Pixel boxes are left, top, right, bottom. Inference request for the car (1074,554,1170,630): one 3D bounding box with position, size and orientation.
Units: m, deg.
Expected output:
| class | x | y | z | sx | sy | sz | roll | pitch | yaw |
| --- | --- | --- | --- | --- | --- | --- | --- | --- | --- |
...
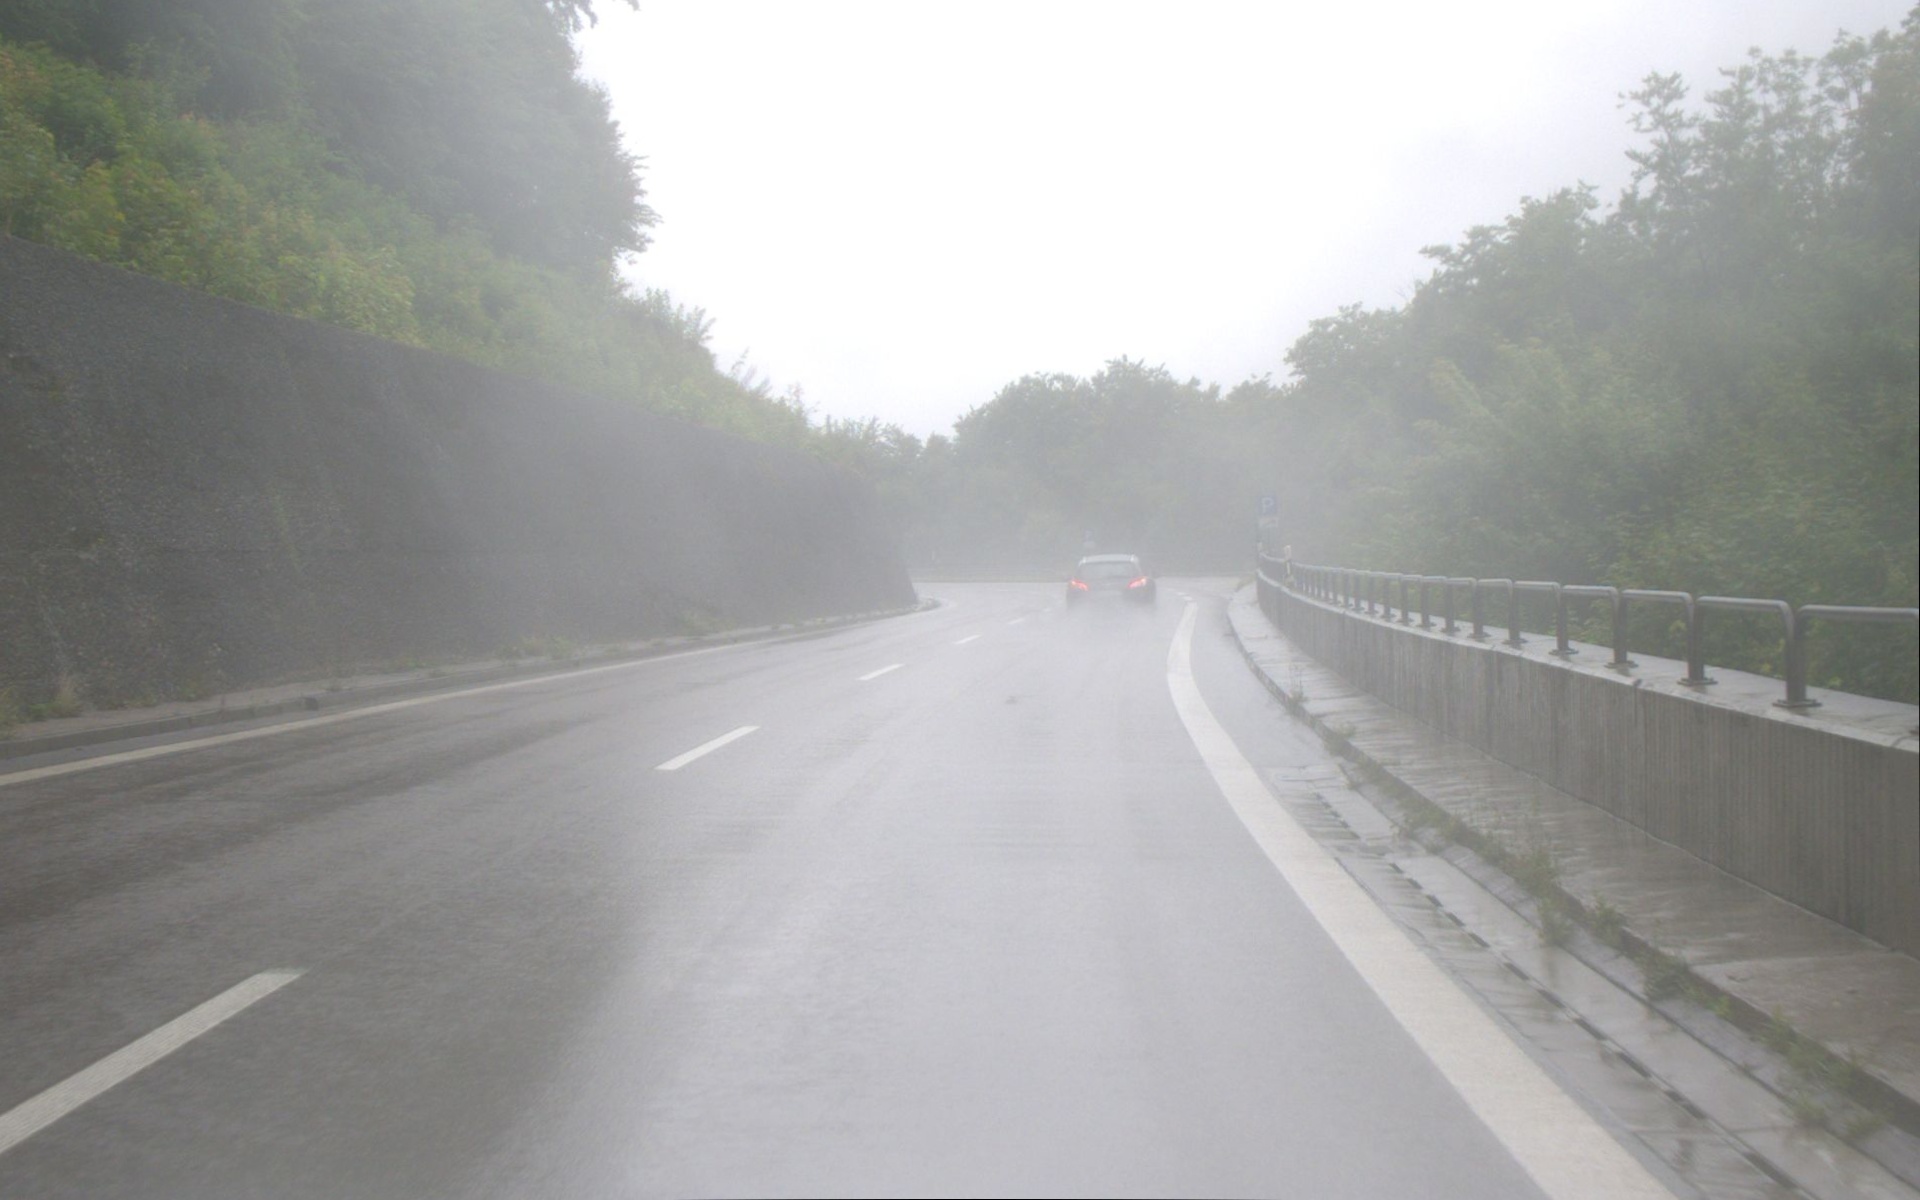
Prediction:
| class | x | y | z | sx | sy | sz | roll | pitch | yaw |
| --- | --- | --- | --- | --- | --- | --- | --- | --- | --- |
| car | 3.349 | -0.185 | 70.864 | 1.904 | 1.494 | 4.000 | -1 | 1 | 3 |
